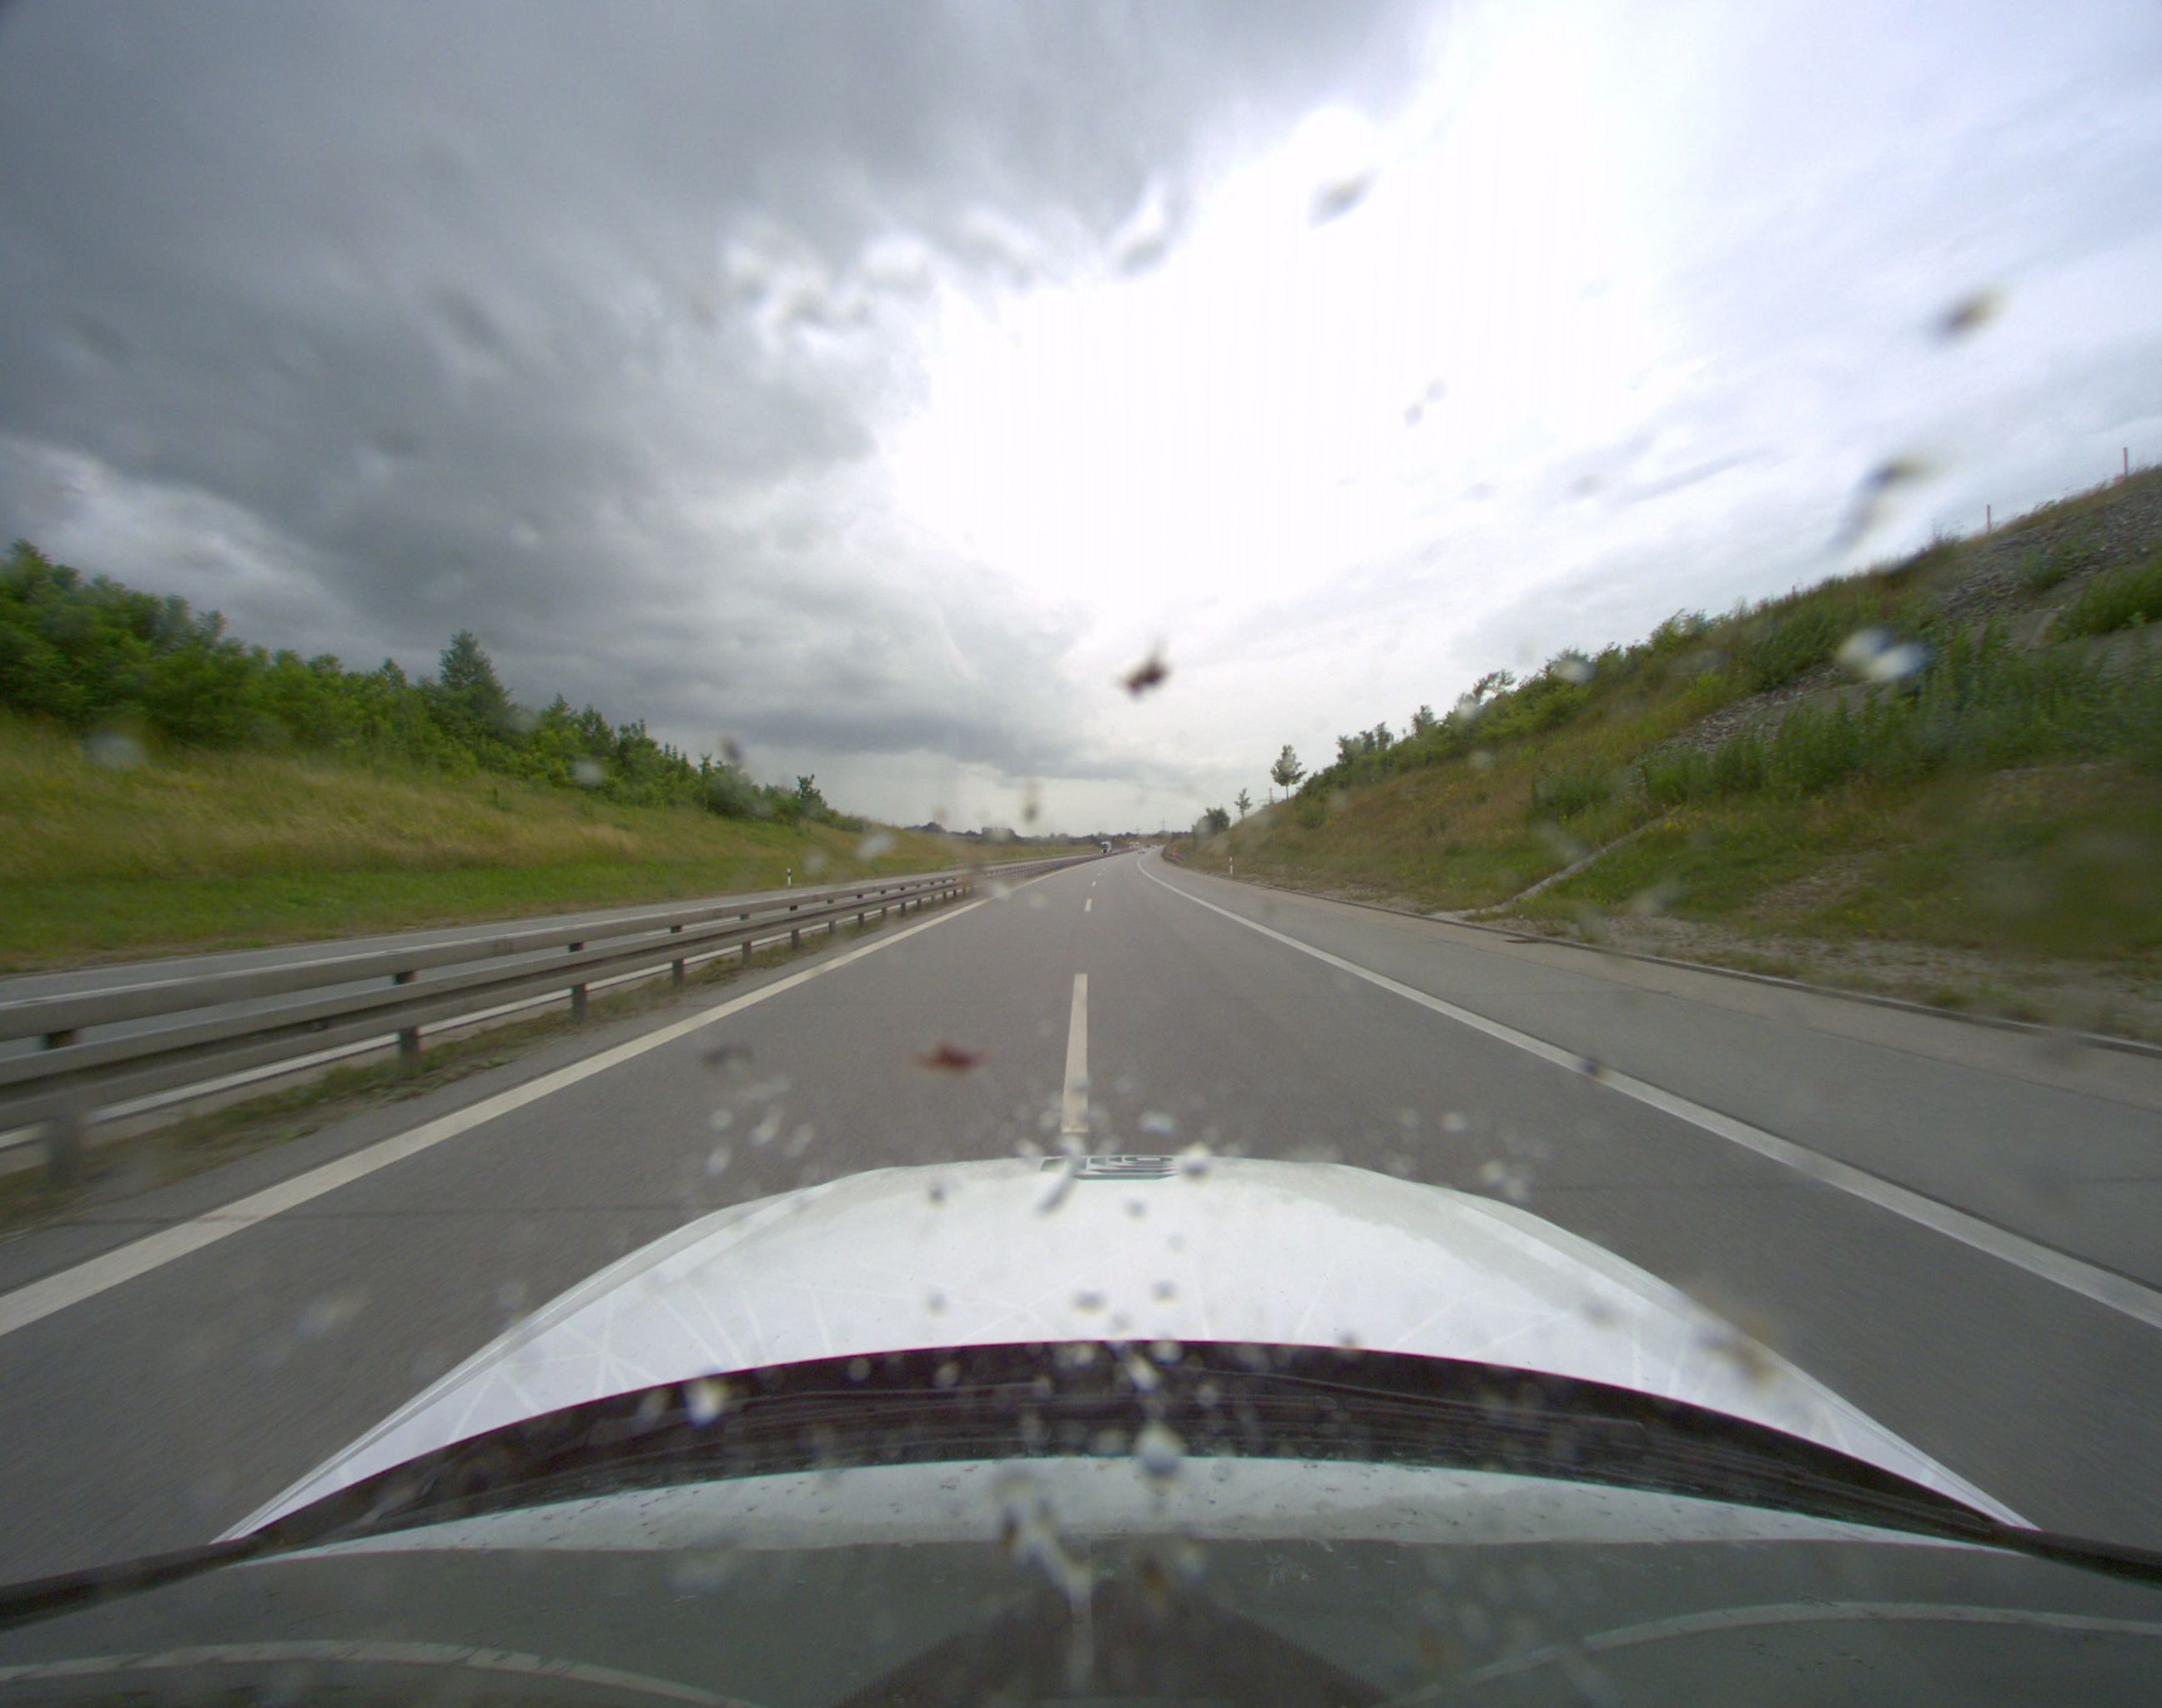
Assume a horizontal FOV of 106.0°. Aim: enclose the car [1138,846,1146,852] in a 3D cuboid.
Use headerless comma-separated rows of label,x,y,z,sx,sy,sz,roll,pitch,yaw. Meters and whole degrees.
car,18.054,-1.604,240.621,1.945,1.651,4.010,-2,-1,9
